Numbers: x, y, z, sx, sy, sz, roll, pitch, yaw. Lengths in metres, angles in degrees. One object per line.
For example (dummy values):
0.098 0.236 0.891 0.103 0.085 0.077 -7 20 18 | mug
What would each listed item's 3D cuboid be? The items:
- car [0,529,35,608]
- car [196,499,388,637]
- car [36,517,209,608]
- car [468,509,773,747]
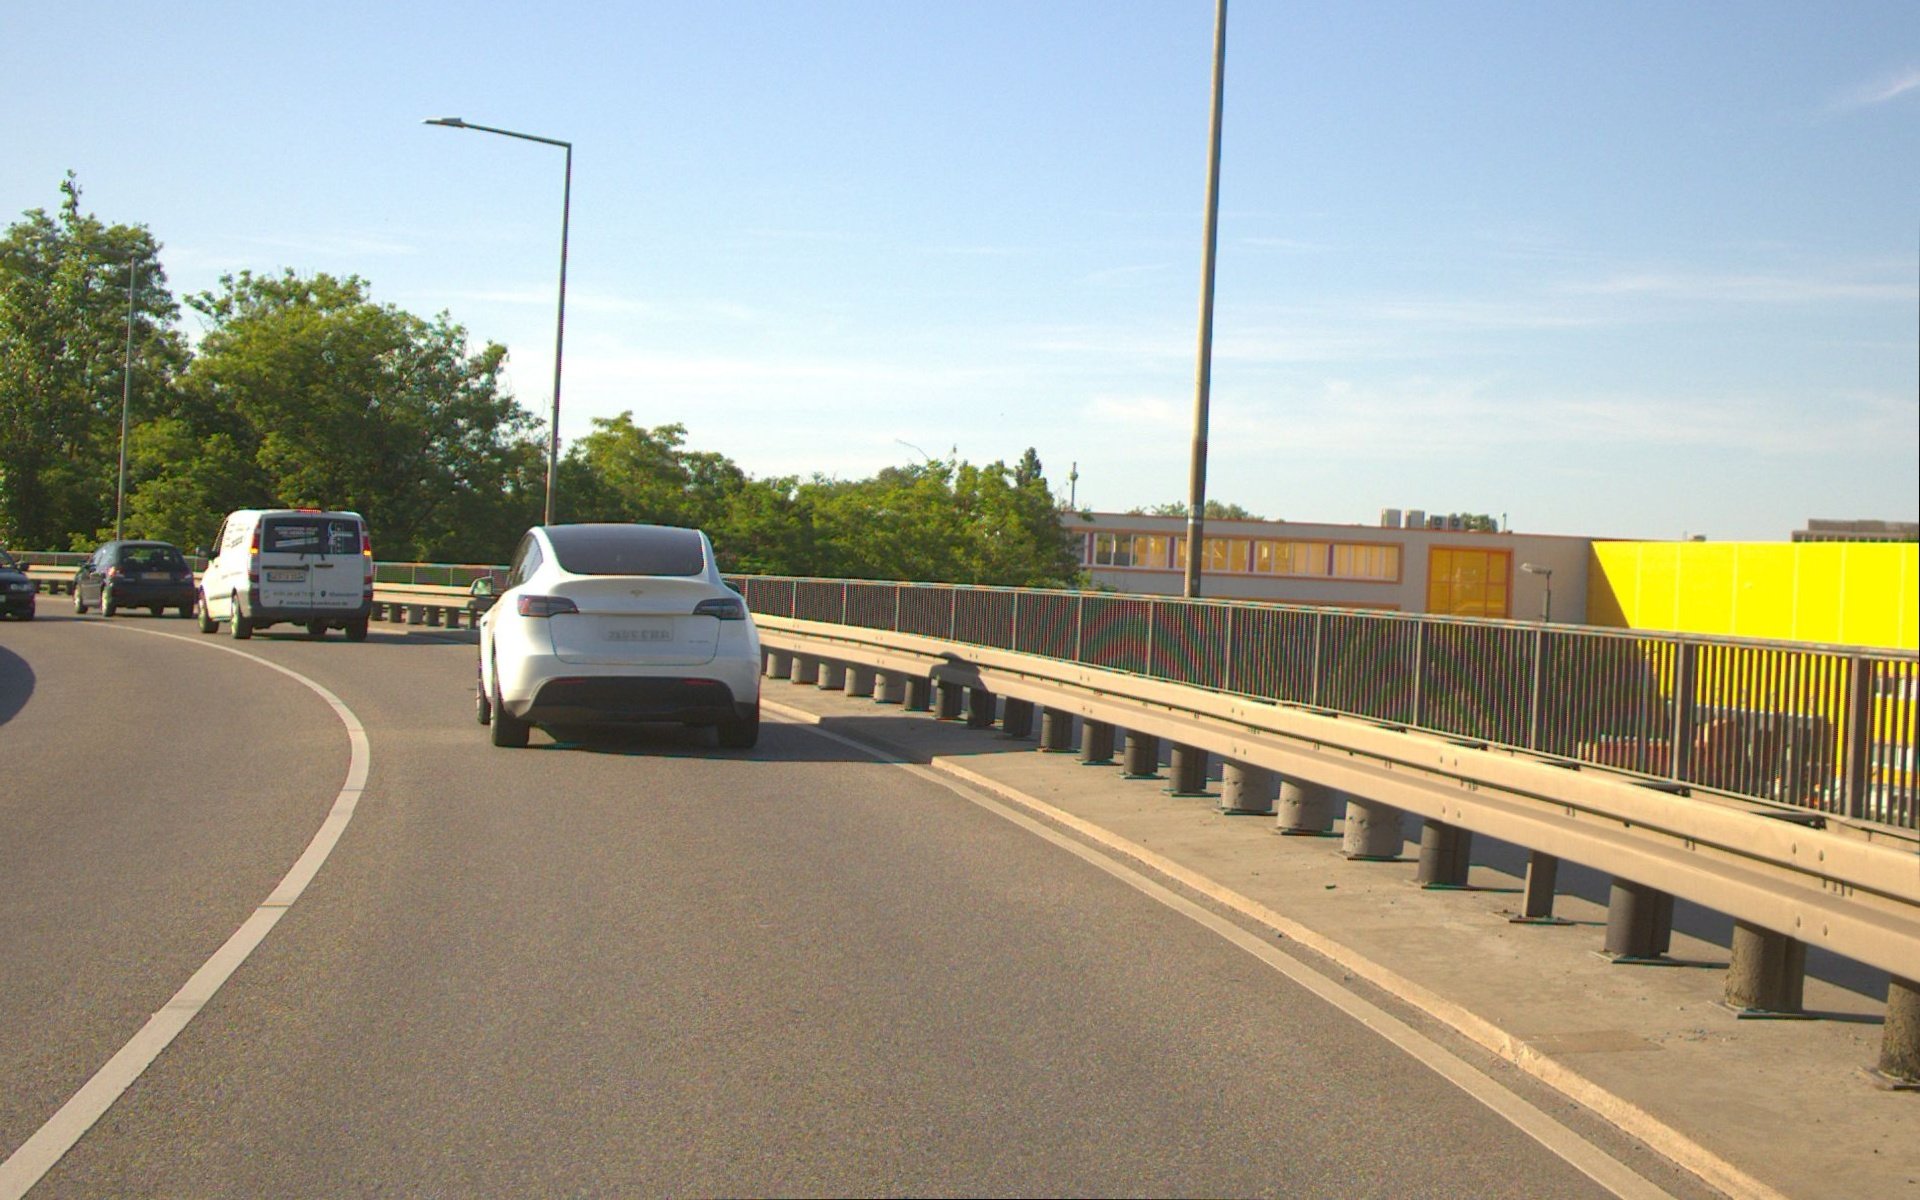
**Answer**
-17.671 -0.586 61.042 1.744 1.350 4.183 0 1 -25 | car
-9.907 -0.501 50.750 2.004 1.934 4.469 0 1 -21 | car
-15.688 -0.704 64.287 1.969 1.632 4.000 -1 1 -32 | car
-2.639 0.163 25.899 1.985 1.632 4.064 0 1 -10 | car
